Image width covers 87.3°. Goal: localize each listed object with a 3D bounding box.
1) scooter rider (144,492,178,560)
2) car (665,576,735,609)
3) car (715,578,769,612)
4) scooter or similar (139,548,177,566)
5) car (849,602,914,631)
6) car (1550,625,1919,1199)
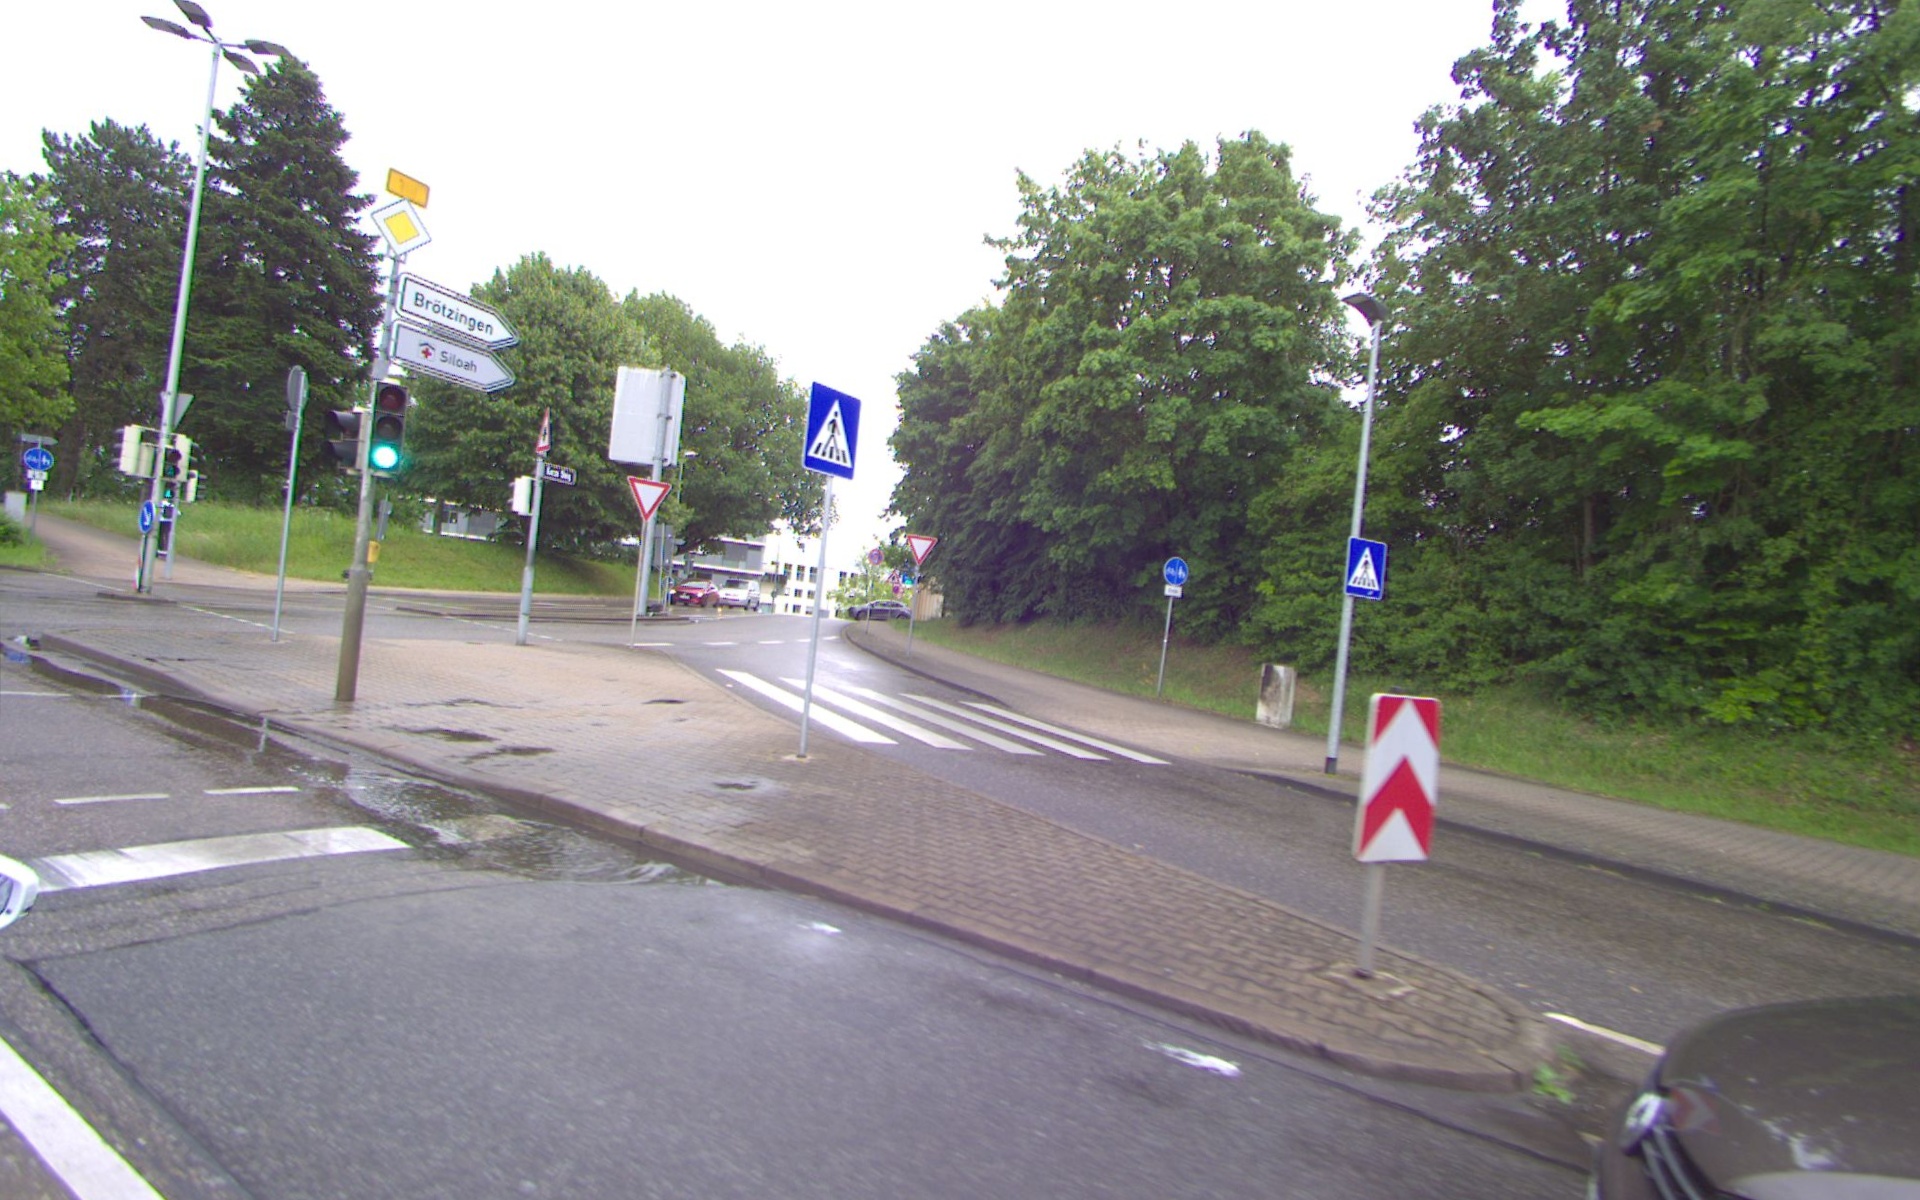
[{"bbox_3d":[-24.661,-2.280,31.037,0.538,1.990,0.501,7,1,31],"label":"scooter rider"},{"bbox_3d":[-13.256,-0.339,51.610,1.817,1.446,4.001,5,0,12],"label":"car"},{"bbox_3d":[-13.539,-0.277,62.634,1.817,1.883,4.001,5,0,9],"label":"car"},{"bbox_3d":[-24.726,-1.336,31.013,1.235,0.408,0.487,7,0,31],"label":"scooter or similar"},{"bbox_3d":[-5.033,1.033,64.296,3.931,1.446,1.849,5,0,-10],"label":"car"},{"bbox_3d":[2.970,1.110,1.090,3.915,1.628,1.750,6,-2,32],"label":"car"}]
